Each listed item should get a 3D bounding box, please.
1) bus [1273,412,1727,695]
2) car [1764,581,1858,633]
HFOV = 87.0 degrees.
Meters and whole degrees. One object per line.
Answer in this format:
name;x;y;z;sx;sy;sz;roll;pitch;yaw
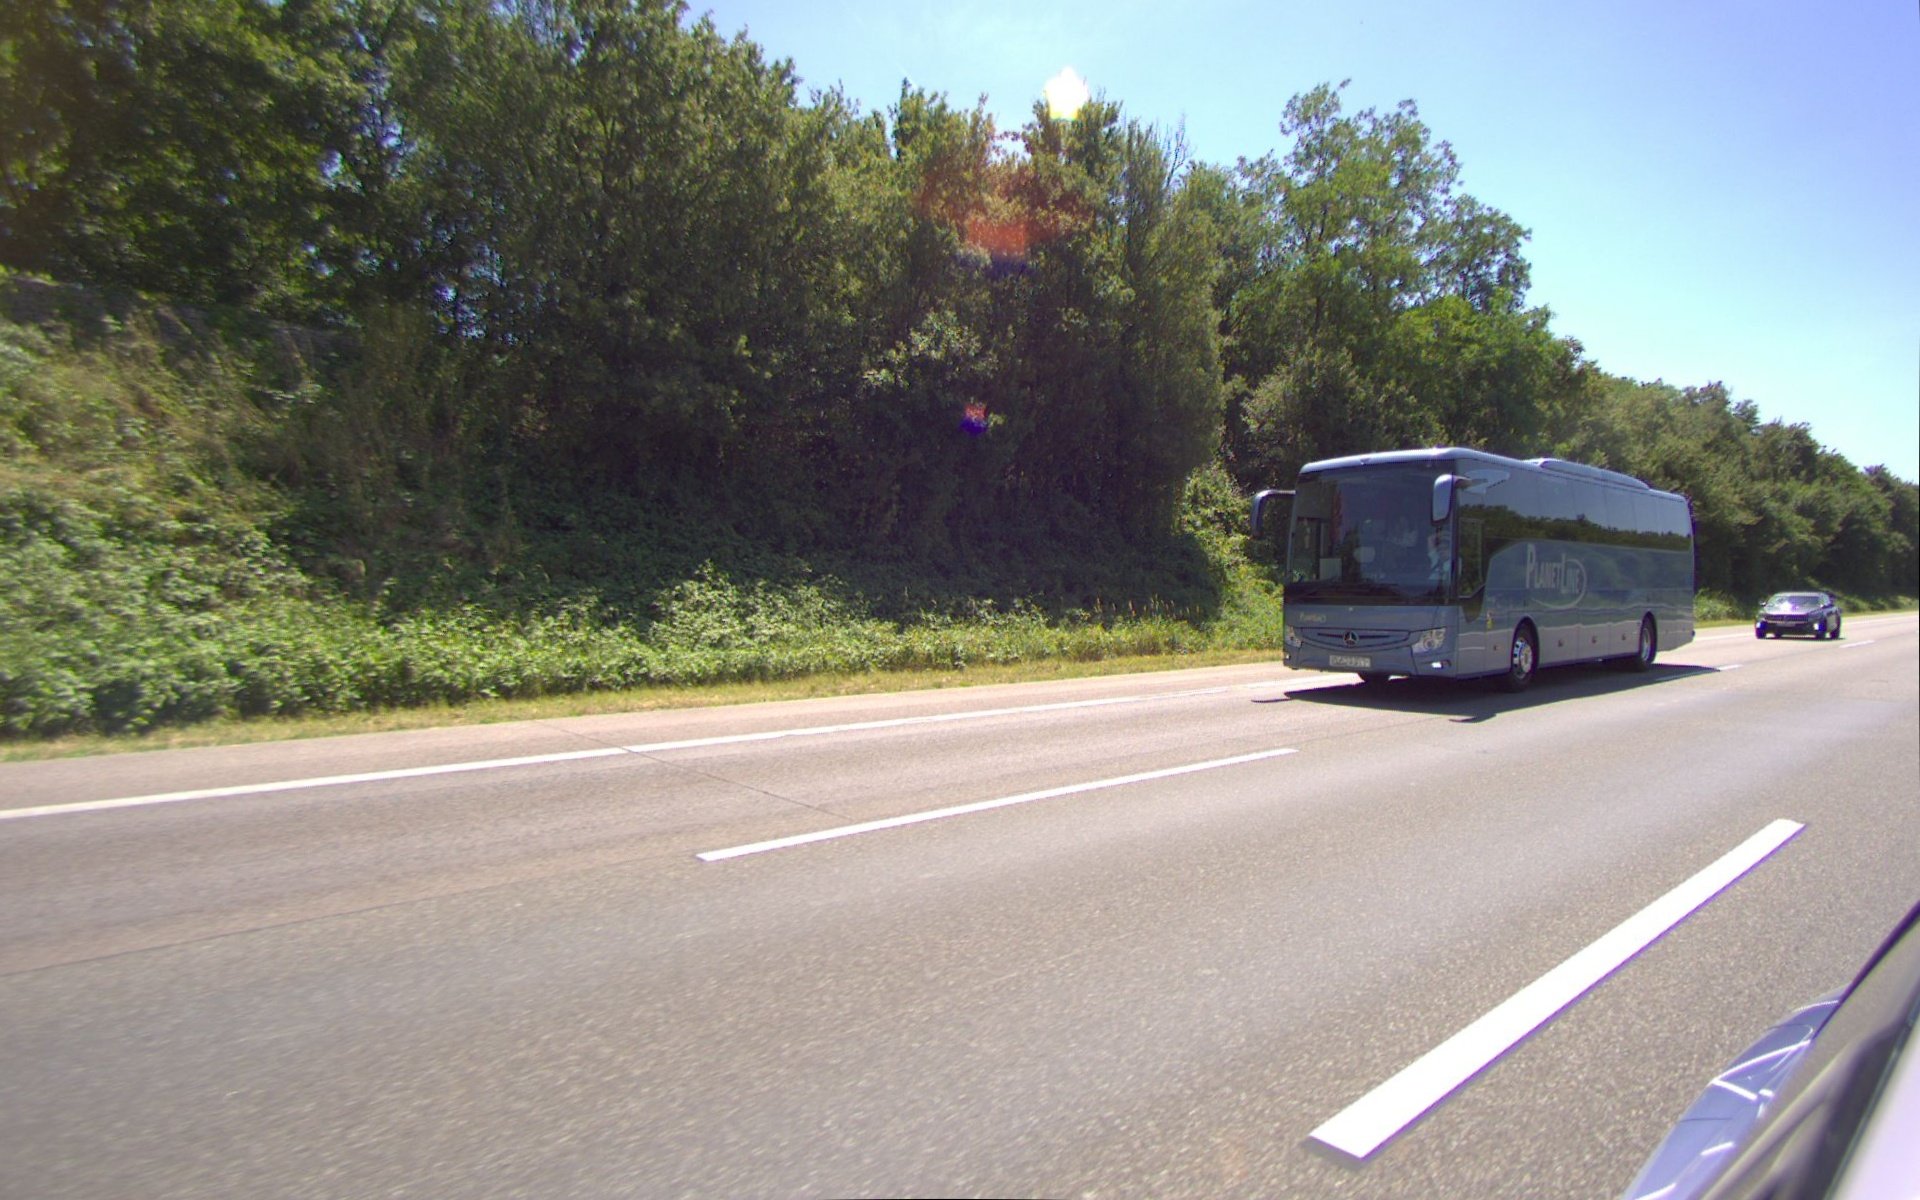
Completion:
bus;10.519;-0.682;18.275;13.444;3.597;2.615;-1;1;-41
car;28.344;0.199;33.684;3.930;1.636;1.813;-1;1;-41
